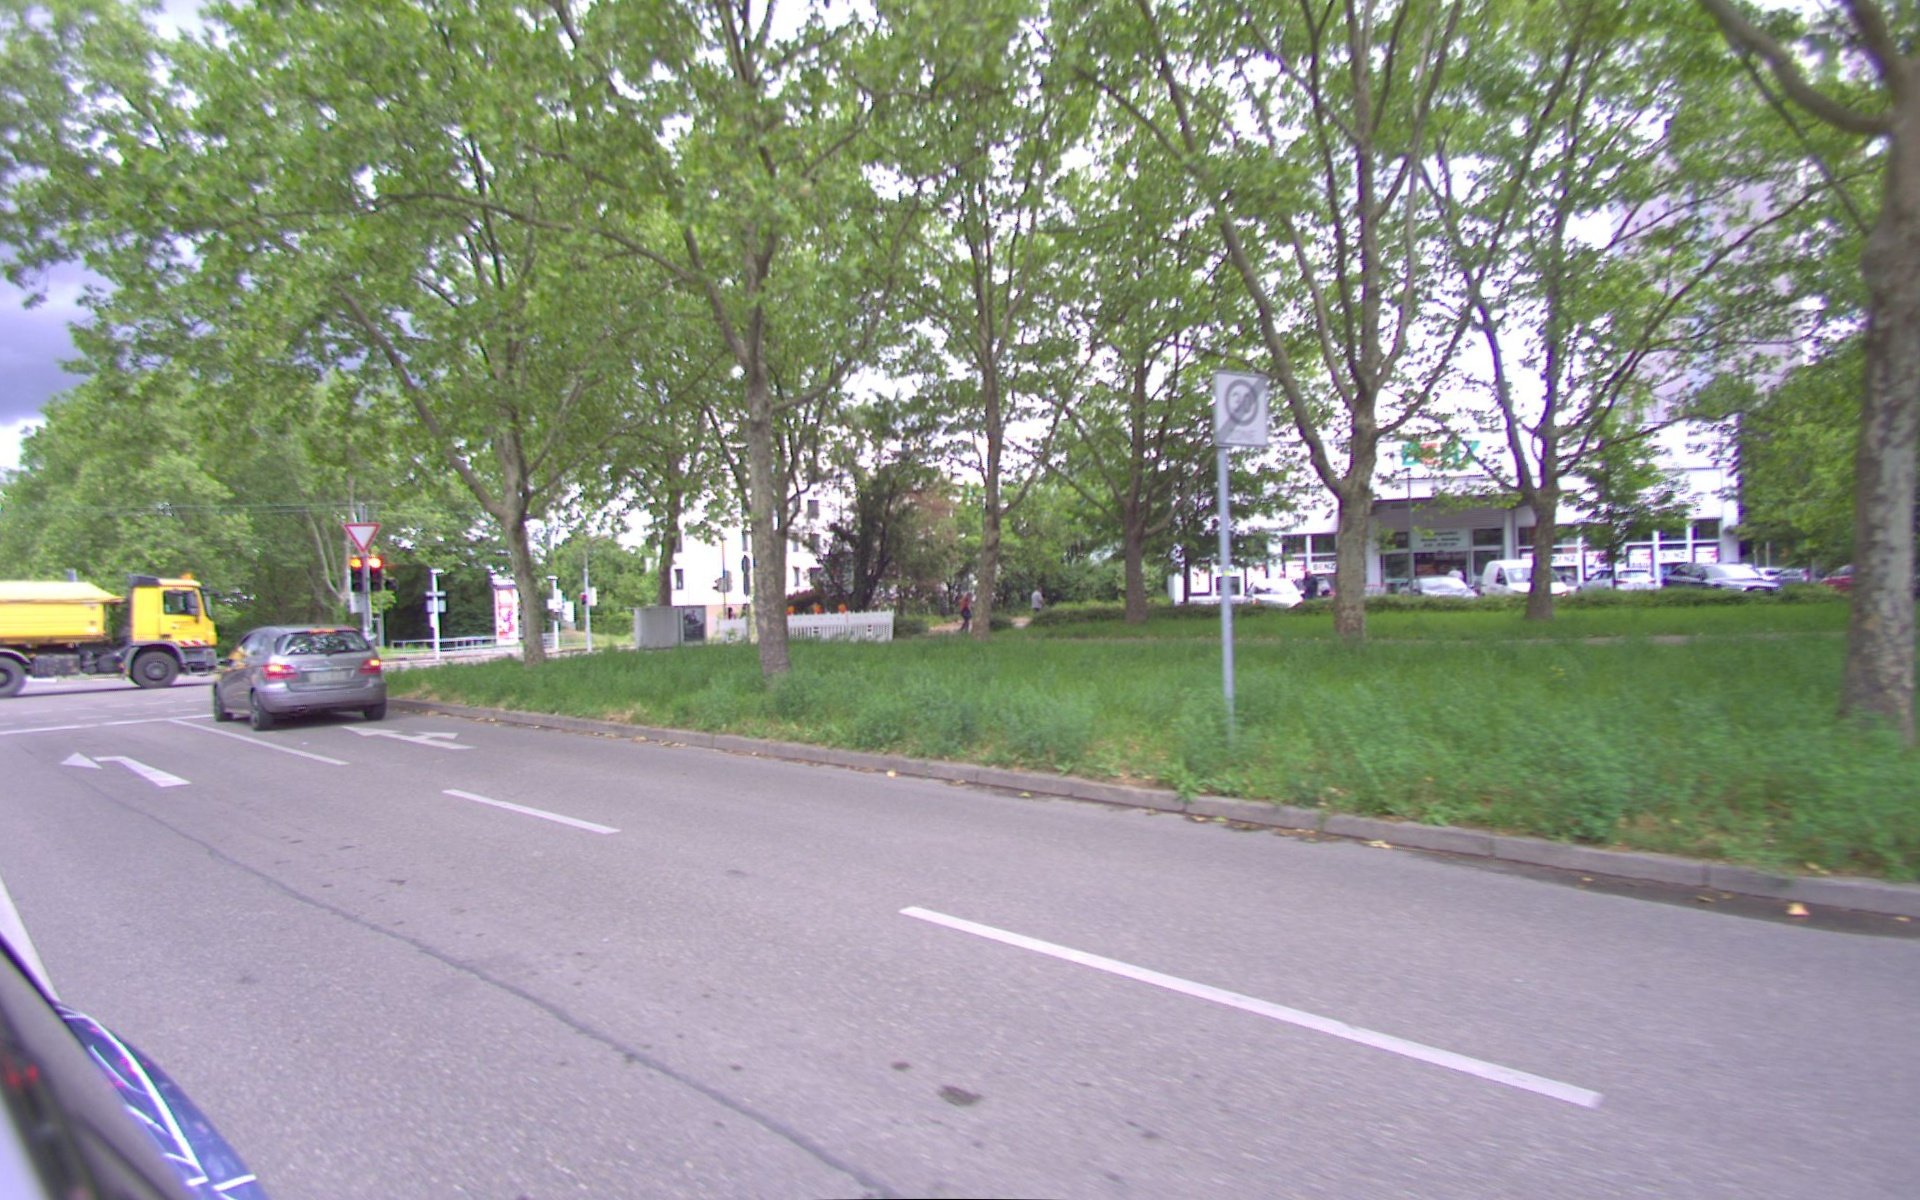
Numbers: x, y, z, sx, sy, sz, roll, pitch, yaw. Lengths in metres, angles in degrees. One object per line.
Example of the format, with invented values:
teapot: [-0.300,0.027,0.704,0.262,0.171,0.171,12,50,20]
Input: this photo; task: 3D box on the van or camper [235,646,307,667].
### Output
van or camper: [-60.425,4.952,88.864,1.865,1.545,4.935,-4,-1,44]

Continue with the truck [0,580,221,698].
truck: [-25.055,1.049,27.536,2.730,3.026,7.665,-3,-2,45]

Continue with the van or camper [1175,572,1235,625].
van or camper: [8.825,-0.046,36.236,1.830,1.696,3.979,-3,-1,16]

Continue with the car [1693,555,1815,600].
car: [24.372,-0.689,31.196,1.677,1.264,3.236,-1,1,12]

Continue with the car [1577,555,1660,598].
car: [27.482,-0.970,42.370,1.657,1.647,3.805,-2,0,13]

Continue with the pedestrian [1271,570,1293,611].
pedestrian: [14.125,-0.431,44.360,0.610,1.758,0.741,-2,-1,-7]

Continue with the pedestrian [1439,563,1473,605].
pedestrian: [22.876,-0.716,46.630,1.076,1.885,1.044,-3,-2,44]

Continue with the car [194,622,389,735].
car: [-11.196,1.223,16.827,4.412,1.598,1.747,-3,-2,43]

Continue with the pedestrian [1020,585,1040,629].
pedestrian: [3.272,0.316,47.139,0.659,2.029,0.707,-2,0,23]

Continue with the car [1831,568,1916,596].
car: [46.041,-0.910,51.101,1.582,1.331,3.304,-1,1,8]

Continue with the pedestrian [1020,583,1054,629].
pedestrian: [2.733,0.226,35.839,0.838,1.598,0.797,-1,-2,-42]

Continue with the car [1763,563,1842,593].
car: [47.443,-1.229,57.087,1.720,1.494,3.984,-2,-1,12]

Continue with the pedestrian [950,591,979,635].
pedestrian: [0.154,0.453,36.163,0.645,1.550,0.774,-1,-2,-41]

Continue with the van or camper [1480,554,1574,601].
van or camper: [18.407,-0.680,33.042,1.502,1.367,3.762,-2,-1,11]

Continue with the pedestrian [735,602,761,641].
pedestrian: [-8.278,0.846,39.491,0.689,1.500,0.721,-1,-2,-42]

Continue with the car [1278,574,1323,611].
car: [14.981,-0.293,44.718,1.719,1.511,4.244,-2,-1,17]

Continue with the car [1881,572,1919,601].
car: [45.182,-0.654,47.298,1.582,1.331,3.304,-1,1,8]

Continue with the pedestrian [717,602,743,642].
pedestrian: [-8.819,0.834,38.803,0.689,1.500,0.689,-1,-2,-43]

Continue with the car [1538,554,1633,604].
car: [20.852,-0.656,33.877,1.470,1.476,3.876,-2,-1,13]

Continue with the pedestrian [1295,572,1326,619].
pedestrian: [12.310,-0.149,35.531,0.795,1.598,0.789,-3,-2,38]
